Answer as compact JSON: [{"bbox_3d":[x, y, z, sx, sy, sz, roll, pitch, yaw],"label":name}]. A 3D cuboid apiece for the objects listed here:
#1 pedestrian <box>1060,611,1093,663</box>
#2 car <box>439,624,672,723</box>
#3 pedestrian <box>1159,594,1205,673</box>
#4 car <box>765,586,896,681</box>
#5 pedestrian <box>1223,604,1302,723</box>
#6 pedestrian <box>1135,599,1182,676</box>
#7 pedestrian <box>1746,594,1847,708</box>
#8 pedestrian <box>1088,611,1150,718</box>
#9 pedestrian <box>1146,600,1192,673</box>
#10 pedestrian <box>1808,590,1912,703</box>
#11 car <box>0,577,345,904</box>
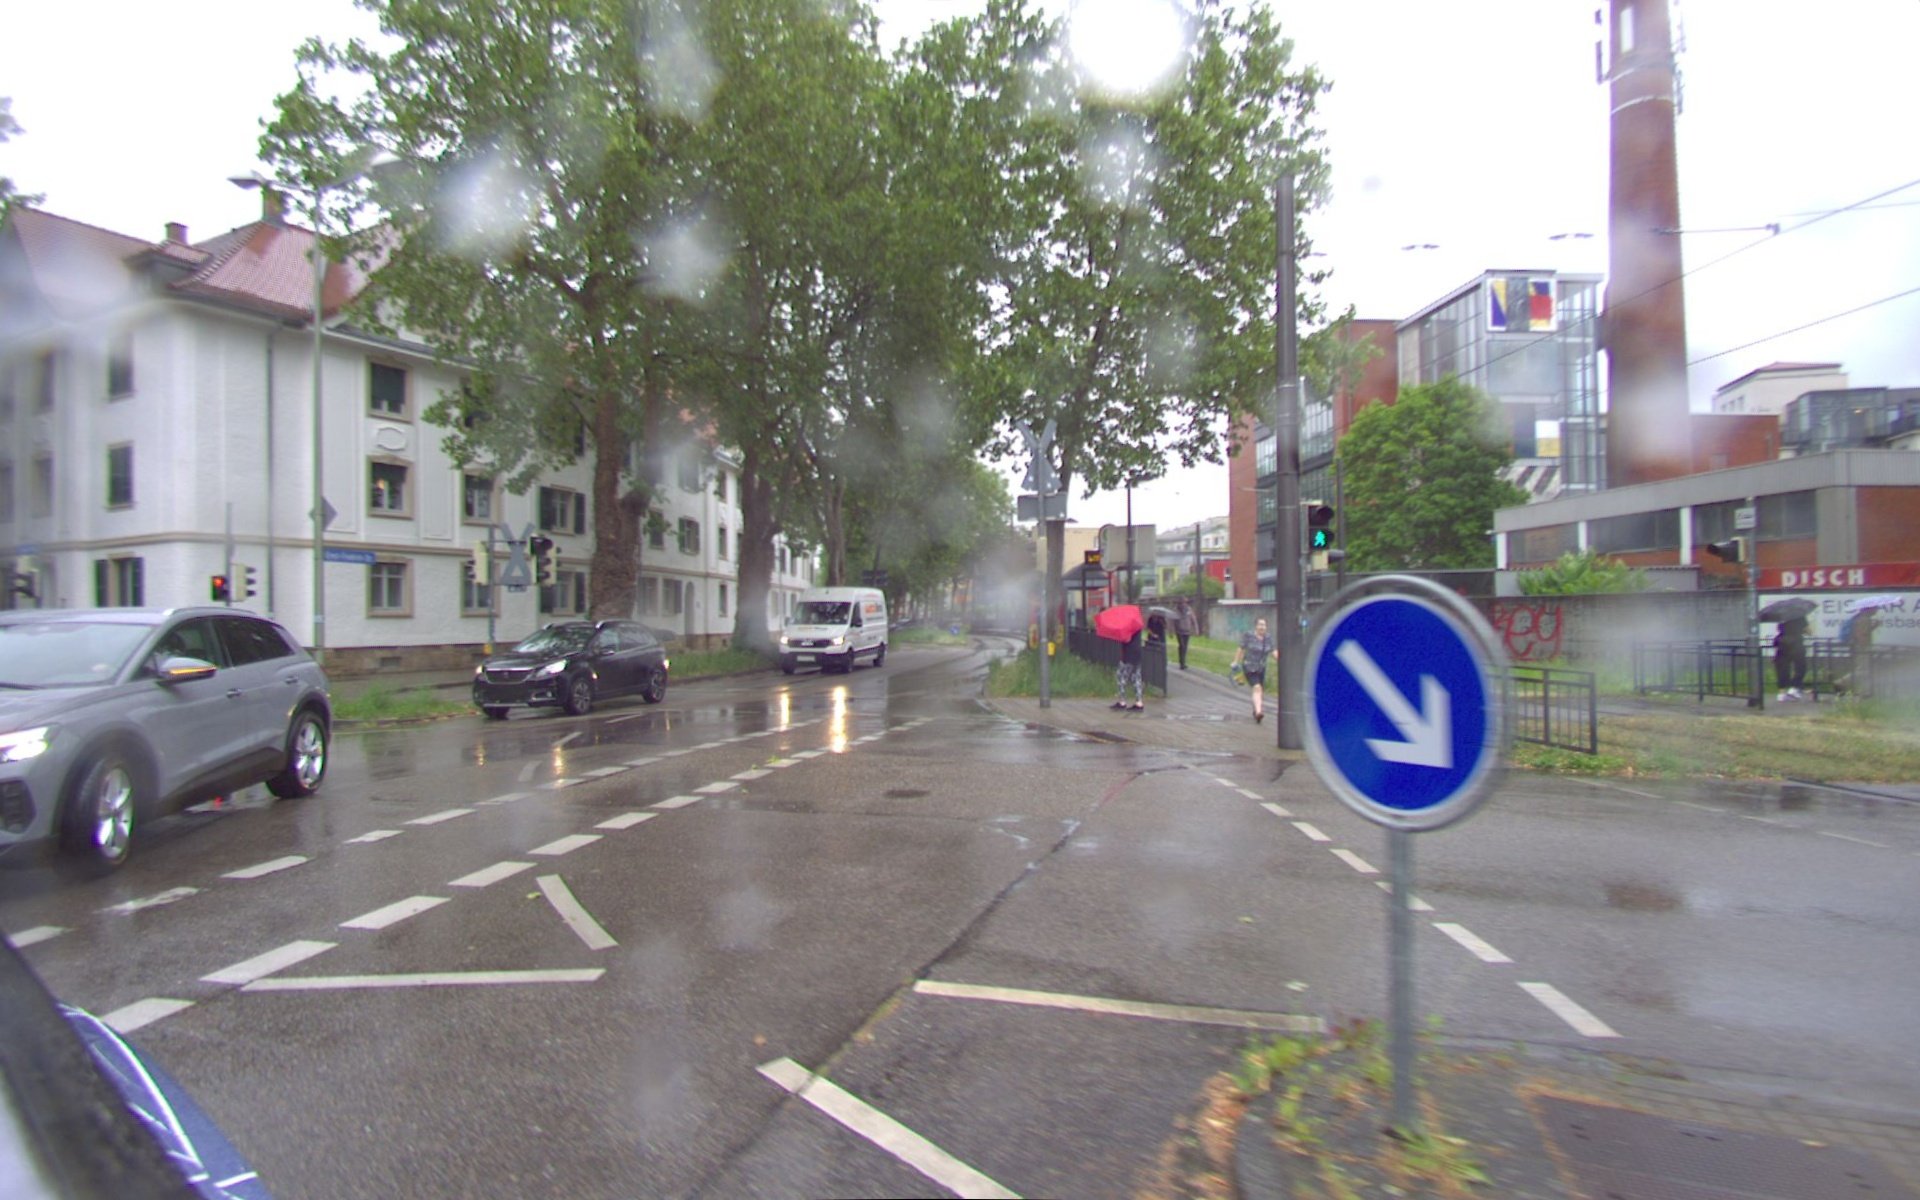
[{"bbox_3d":[4.231,1.333,36.764,0.845,1.839,0.851,0,-3,-29],"label":"pedestrian"},{"bbox_3d":[-6.658,1.174,17.168,1.834,1.455,3.986,-1,-2,11],"label":"car"},{"bbox_3d":[5.322,0.817,24.321,0.848,1.846,0.849,-1,-3,-1],"label":"pedestrian"},{"bbox_3d":[-3.802,0.978,31.166,2.258,2.582,6.493,-1,-1,9],"label":"car"},{"bbox_3d":[4.464,0.930,14.974,0.848,1.701,0.849,-1,-2,-1],"label":"pedestrian"},{"bbox_3d":[4.547,0.859,23.225,0.848,1.701,0.849,-1,-2,-1],"label":"pedestrian"},{"bbox_3d":[14.248,0.857,17.267,0.837,1.876,0.956,-1,-2,0],"label":"pedestrian"},{"bbox_3d":[2.584,1.041,16.522,0.837,1.701,0.860,-1,-2,0],"label":"pedestrian"},{"bbox_3d":[5.006,0.871,24.285,0.848,1.701,0.849,-1,-2,-1],"label":"pedestrian"},{"bbox_3d":[15.555,0.801,17.522,0.837,1.876,0.956,-1,-2,0],"label":"pedestrian"},{"bbox_3d":[-6.041,0.791,6.960,1.781,1.633,4.146,0,-2,-11],"label":"car"}]
